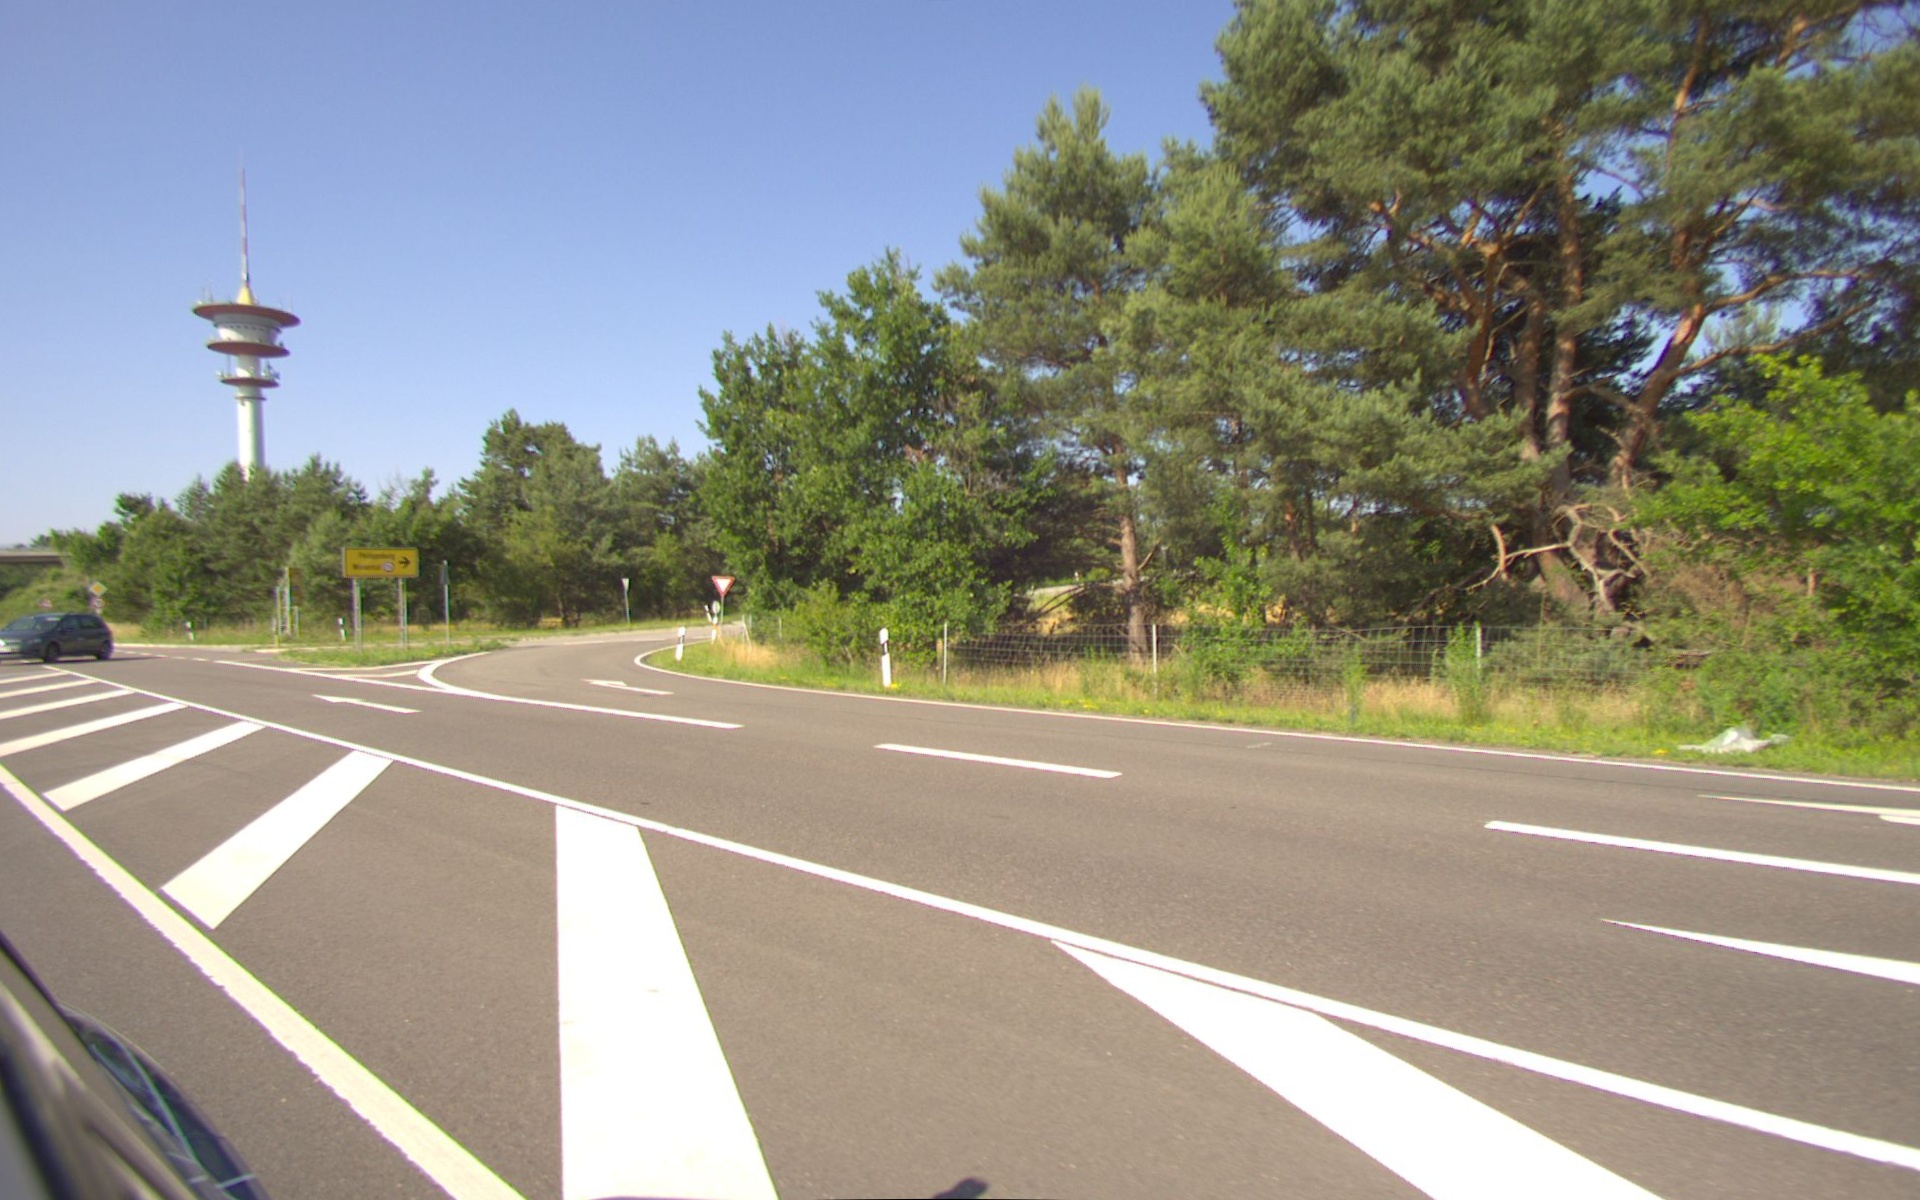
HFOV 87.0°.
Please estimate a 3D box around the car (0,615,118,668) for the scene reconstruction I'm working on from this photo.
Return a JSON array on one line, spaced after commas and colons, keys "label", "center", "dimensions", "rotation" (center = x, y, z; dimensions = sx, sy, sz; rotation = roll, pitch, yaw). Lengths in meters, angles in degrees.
[{"label": "car", "center": [-29.036, 1.277, 32.090], "dimensions": [1.839, 1.553, 4.085], "rotation": [0, -1, -11]}]
